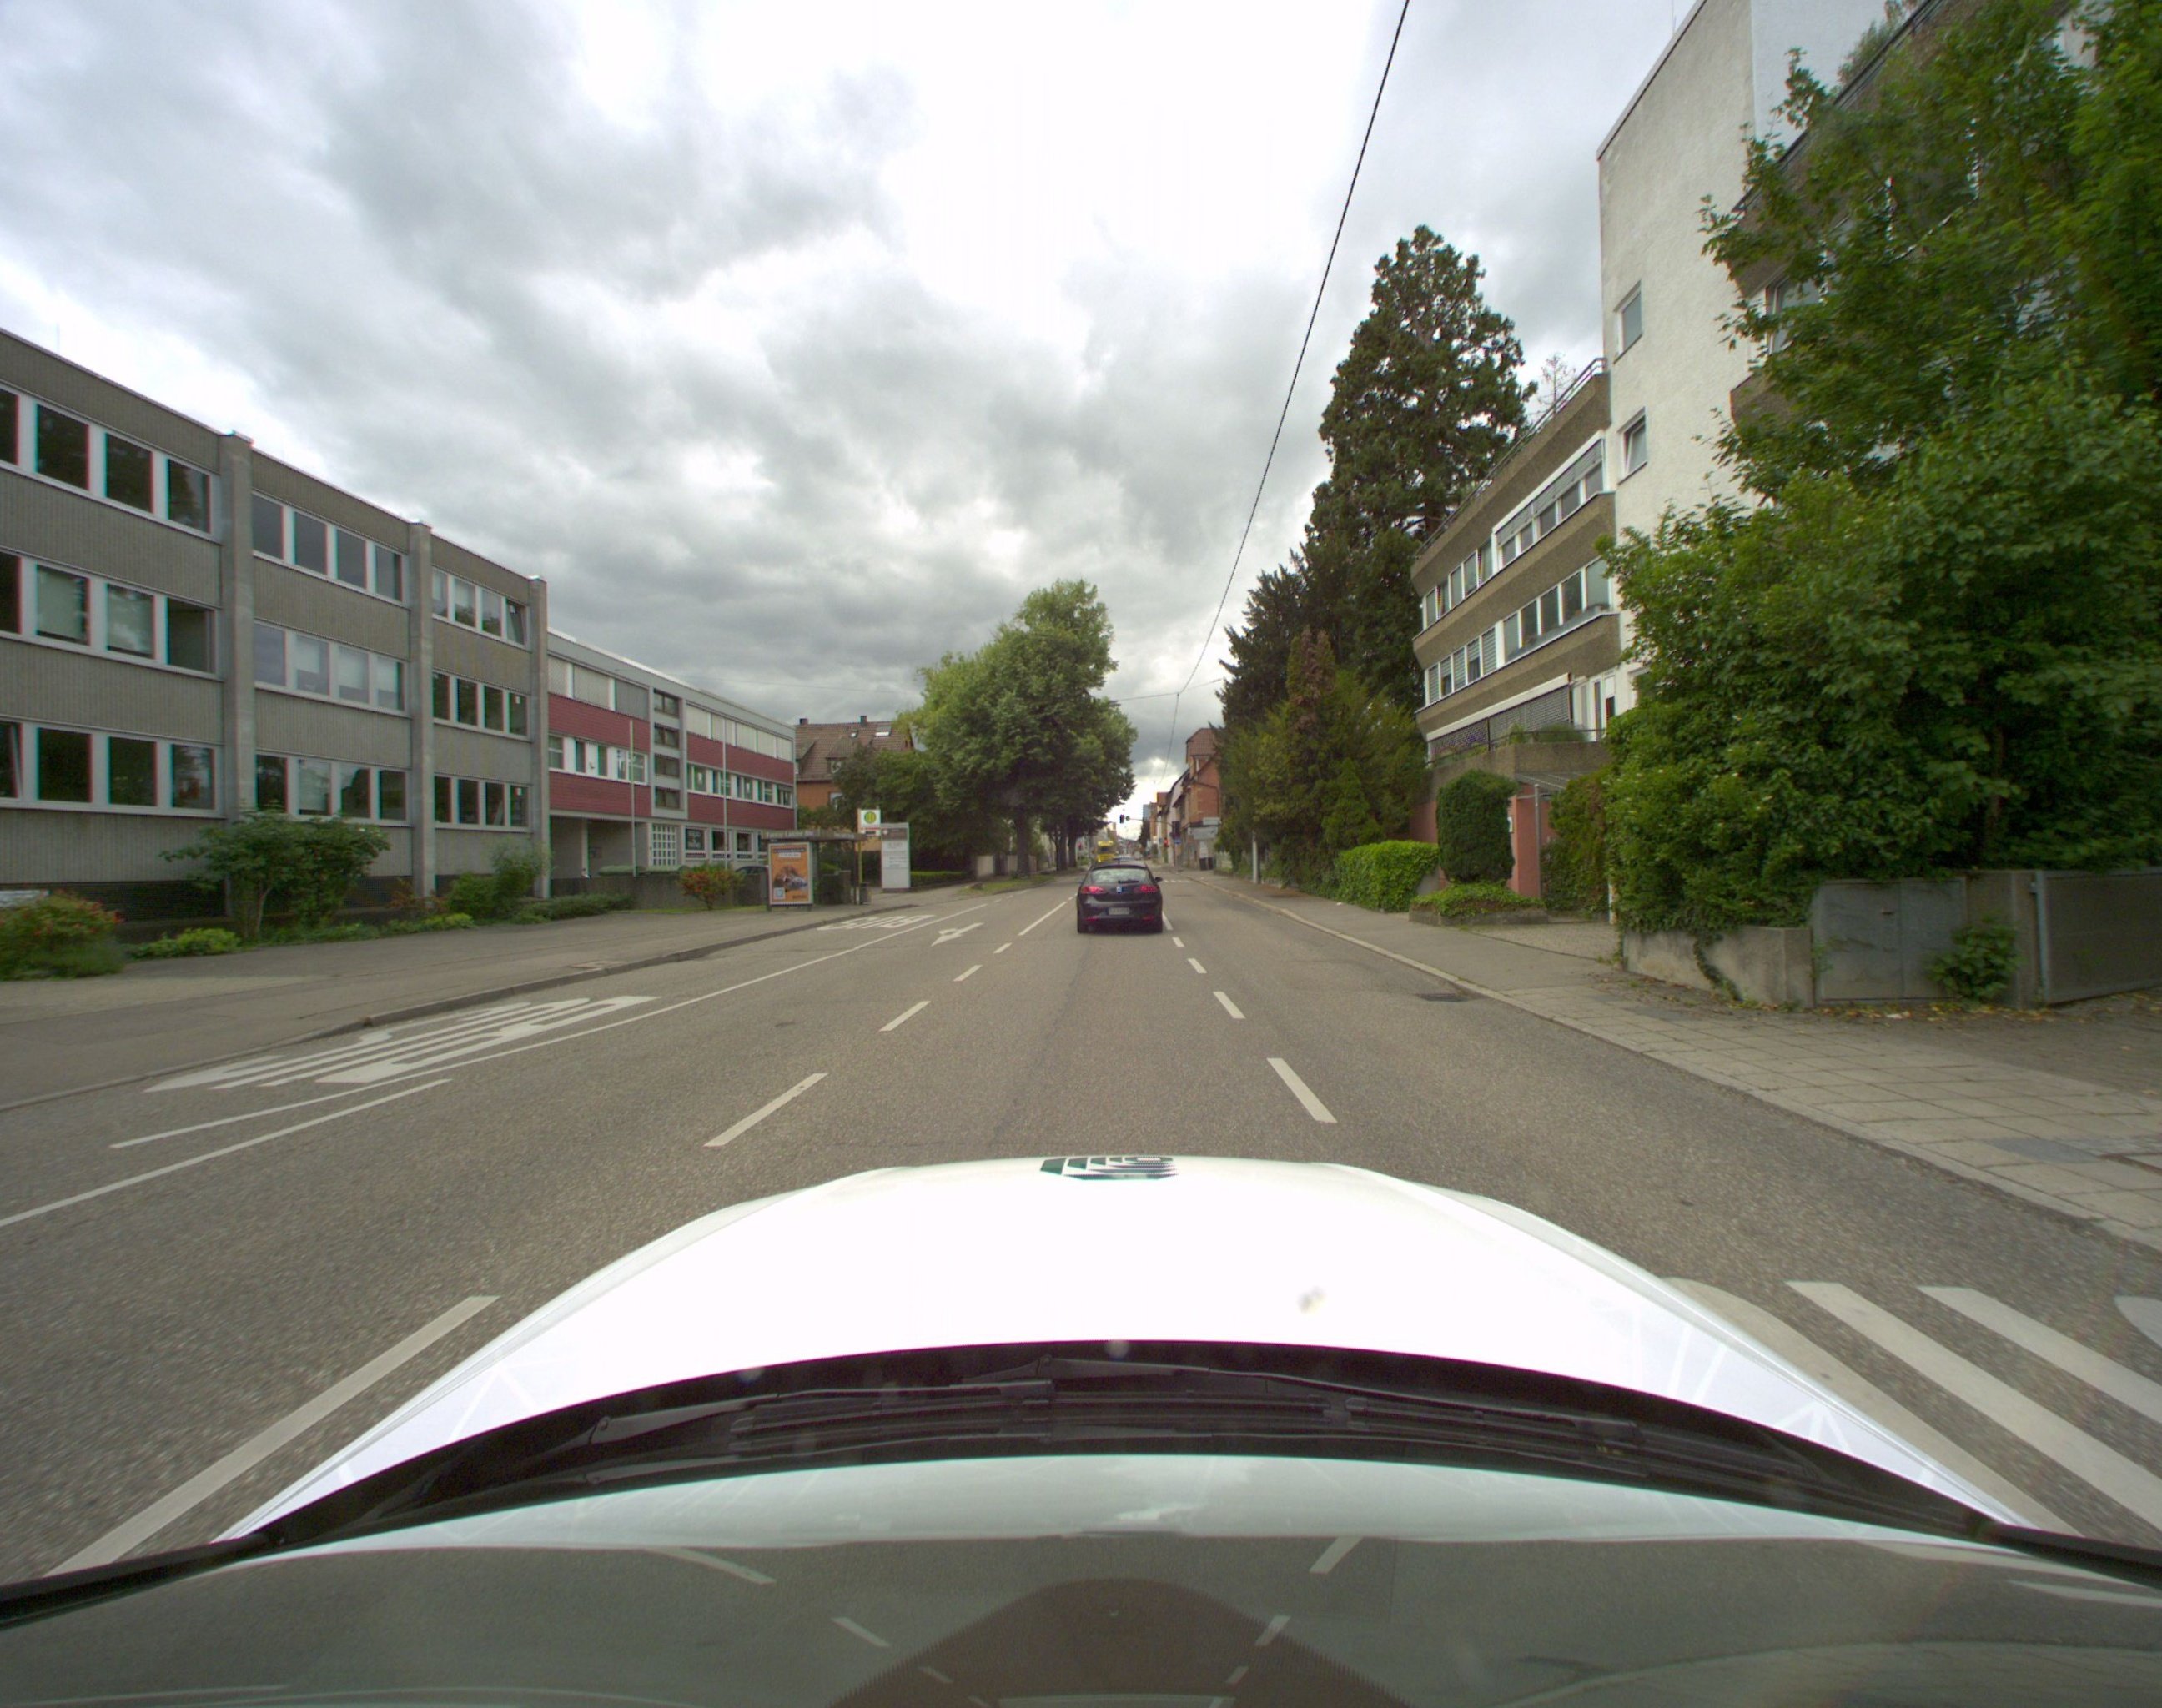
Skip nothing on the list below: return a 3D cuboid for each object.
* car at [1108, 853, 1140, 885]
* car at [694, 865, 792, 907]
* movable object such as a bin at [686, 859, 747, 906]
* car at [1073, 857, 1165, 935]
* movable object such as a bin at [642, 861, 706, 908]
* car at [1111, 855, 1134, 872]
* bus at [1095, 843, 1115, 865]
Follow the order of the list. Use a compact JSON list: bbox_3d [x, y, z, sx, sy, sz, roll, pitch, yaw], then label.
[{"bbox_3d":[2.677,0.889,50.276,1.811,1.699,4.258,-3,0,4],"label":"car"},{"bbox_3d":[-16.677,1.572,40.336,3.974,1.790,1.855,-3,0,0],"label":"car"},{"bbox_3d":[-16.935,1.316,37.904,1.986,2.013,1.543,-3,0,2],"label":"movable object such as a bin"},{"bbox_3d":[0.720,0.816,17.491,1.754,1.448,3.713,0,0,-1],"label":"car"},{"bbox_3d":[-18.937,1.395,37.956,1.986,2.013,1.787,-3,0,2],"label":"movable object such as a bin"},{"bbox_3d":[3.855,0.865,76.380,1.935,1.481,4.253,-3,0,1],"label":"car"},{"bbox_3d":[3.609,-0.033,121.144,2.857,3.136,6.401,-3,0,2],"label":"bus"}]
